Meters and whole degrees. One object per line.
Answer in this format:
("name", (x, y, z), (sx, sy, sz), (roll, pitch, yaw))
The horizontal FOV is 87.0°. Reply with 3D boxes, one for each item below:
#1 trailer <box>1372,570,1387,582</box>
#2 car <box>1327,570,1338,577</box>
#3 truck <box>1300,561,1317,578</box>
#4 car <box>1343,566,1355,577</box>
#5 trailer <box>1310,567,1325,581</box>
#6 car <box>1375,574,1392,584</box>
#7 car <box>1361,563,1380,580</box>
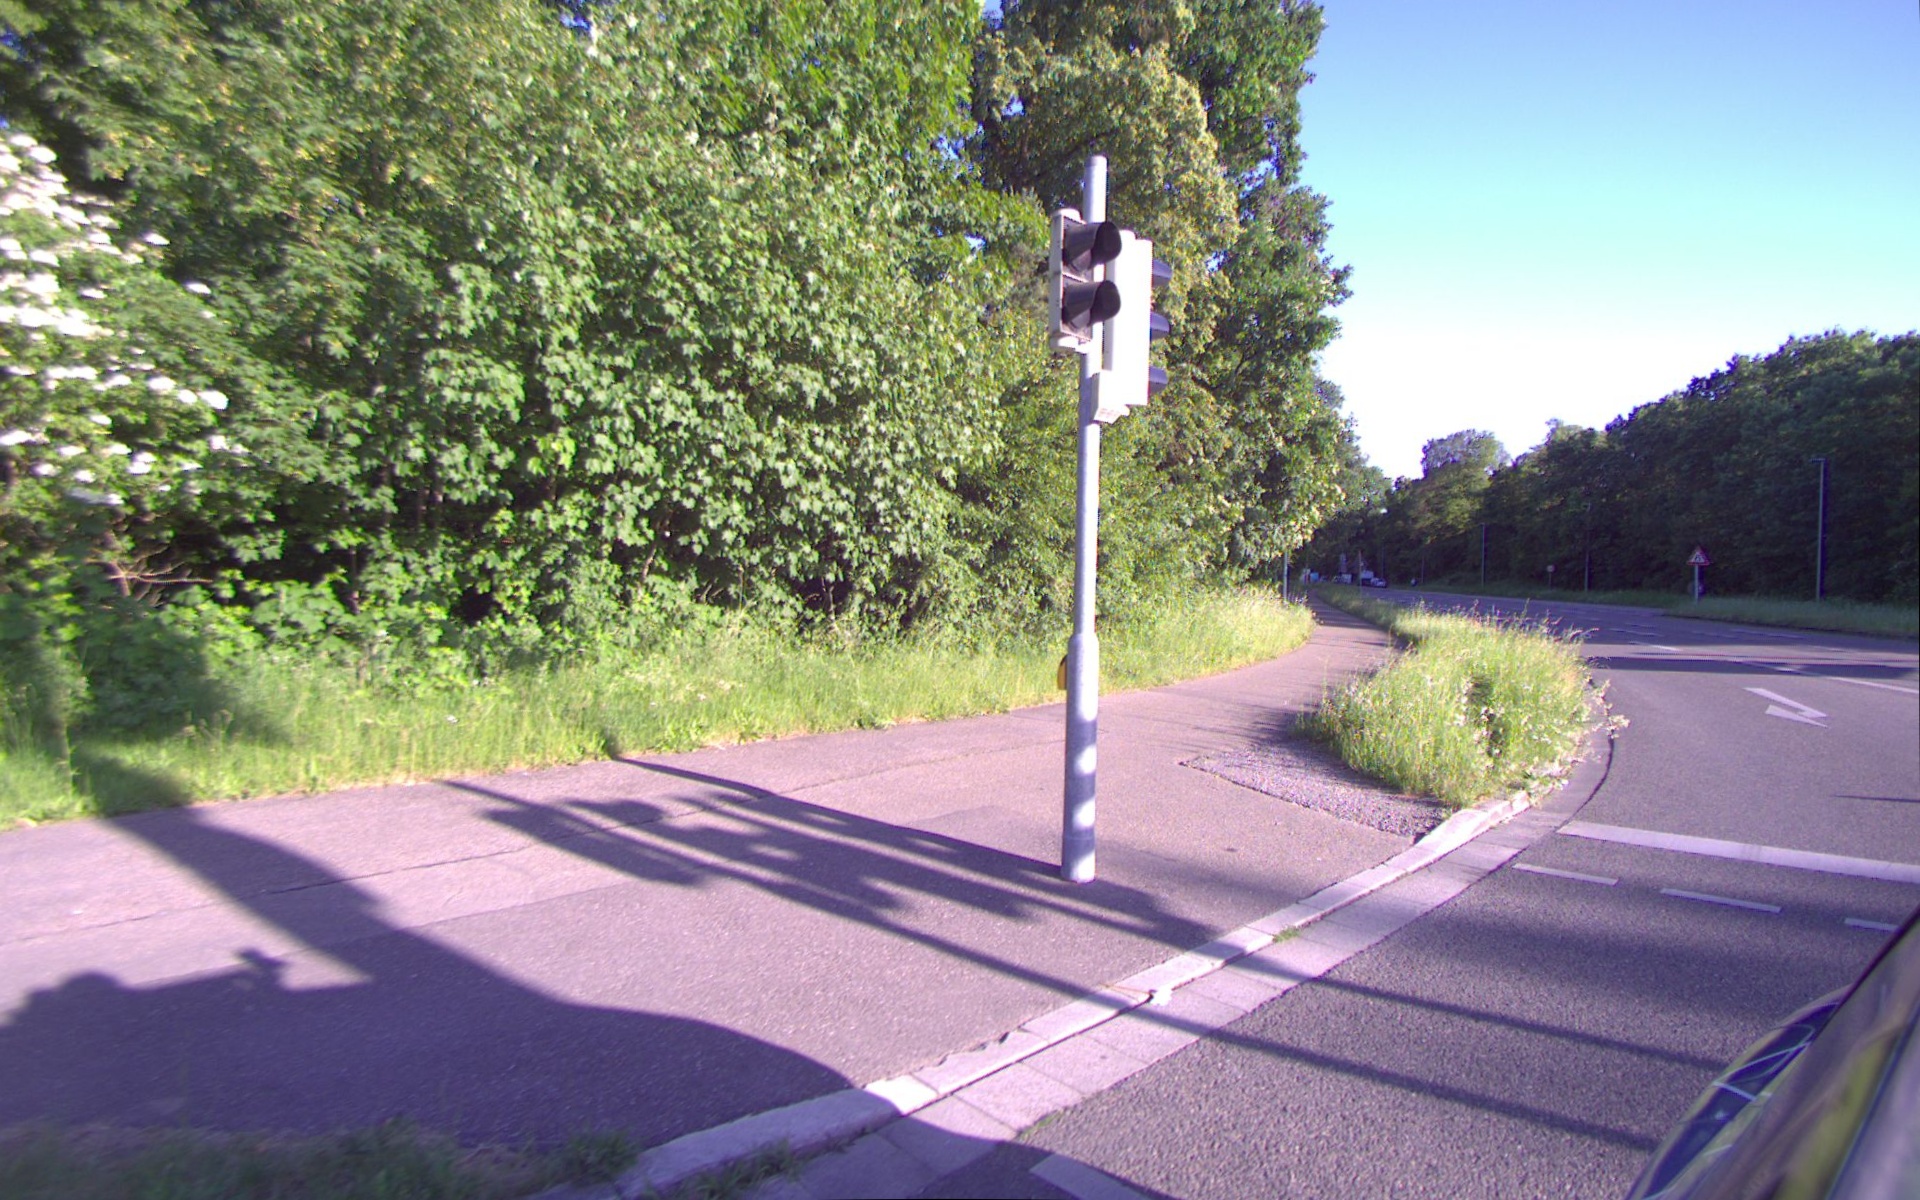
("trailer", (70.383, -4.046, 169.916), (1.781, 1.750, 3.633), (3, 3, 14))
("car", (88.367, -6.343, 240.031), (1.781, 1.523, 3.897), (3, 3, 14))
("truck", (62.257, -5.403, 180.854), (2.356, 2.907, 5.577), (-1, 2, 14))
("car", (81.712, -6.020, 212.512), (1.668, 2.127, 4.614), (2, 3, 14))
("trailer", (57.830, -4.217, 163.708), (1.843, 2.204, 4.113), (0, 2, 14))
("car", (69.132, -3.444, 165.064), (1.888, 1.482, 3.996), (3, 3, 14))
("car", (73.519, -5.154, 181.342), (2.426, 2.881, 4.780), (3, 2, 14))
